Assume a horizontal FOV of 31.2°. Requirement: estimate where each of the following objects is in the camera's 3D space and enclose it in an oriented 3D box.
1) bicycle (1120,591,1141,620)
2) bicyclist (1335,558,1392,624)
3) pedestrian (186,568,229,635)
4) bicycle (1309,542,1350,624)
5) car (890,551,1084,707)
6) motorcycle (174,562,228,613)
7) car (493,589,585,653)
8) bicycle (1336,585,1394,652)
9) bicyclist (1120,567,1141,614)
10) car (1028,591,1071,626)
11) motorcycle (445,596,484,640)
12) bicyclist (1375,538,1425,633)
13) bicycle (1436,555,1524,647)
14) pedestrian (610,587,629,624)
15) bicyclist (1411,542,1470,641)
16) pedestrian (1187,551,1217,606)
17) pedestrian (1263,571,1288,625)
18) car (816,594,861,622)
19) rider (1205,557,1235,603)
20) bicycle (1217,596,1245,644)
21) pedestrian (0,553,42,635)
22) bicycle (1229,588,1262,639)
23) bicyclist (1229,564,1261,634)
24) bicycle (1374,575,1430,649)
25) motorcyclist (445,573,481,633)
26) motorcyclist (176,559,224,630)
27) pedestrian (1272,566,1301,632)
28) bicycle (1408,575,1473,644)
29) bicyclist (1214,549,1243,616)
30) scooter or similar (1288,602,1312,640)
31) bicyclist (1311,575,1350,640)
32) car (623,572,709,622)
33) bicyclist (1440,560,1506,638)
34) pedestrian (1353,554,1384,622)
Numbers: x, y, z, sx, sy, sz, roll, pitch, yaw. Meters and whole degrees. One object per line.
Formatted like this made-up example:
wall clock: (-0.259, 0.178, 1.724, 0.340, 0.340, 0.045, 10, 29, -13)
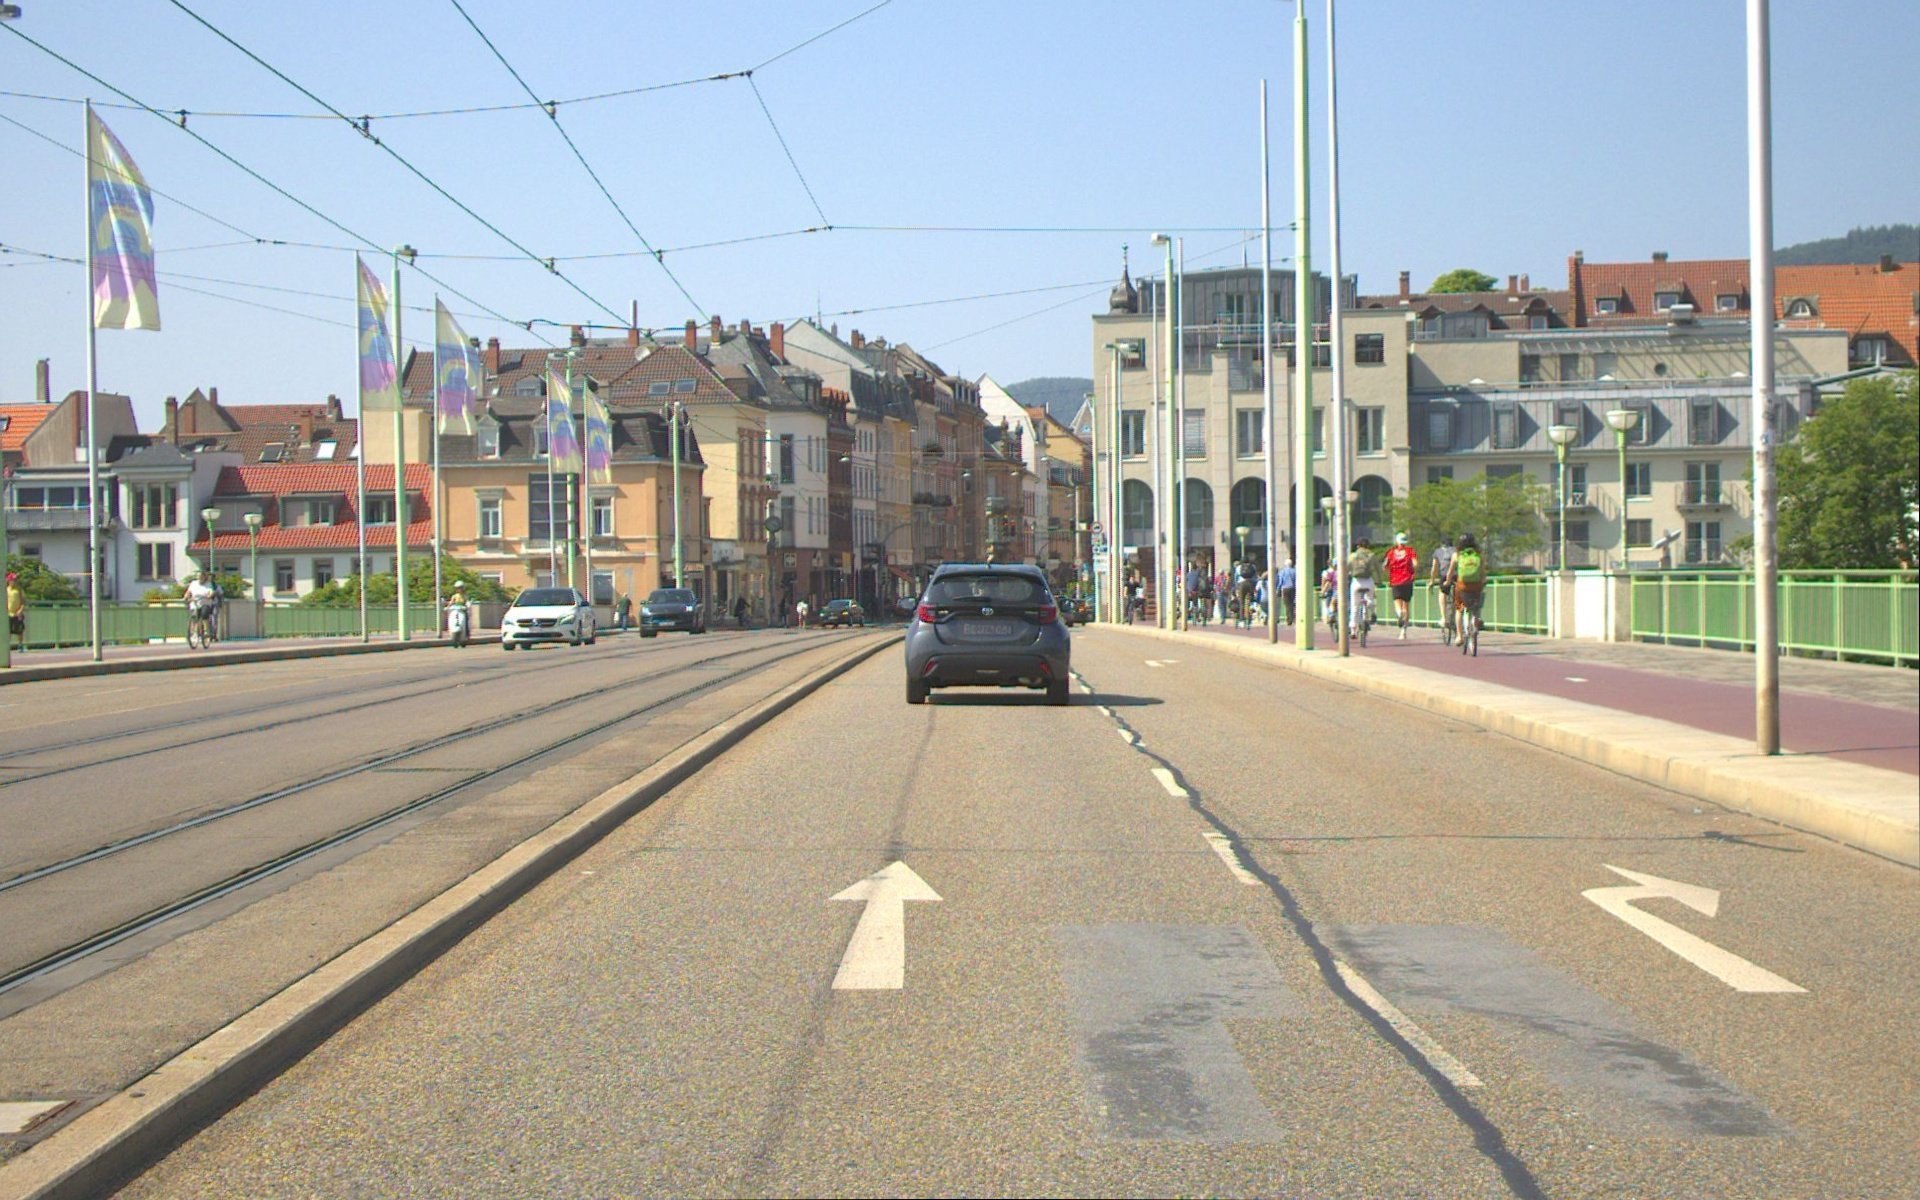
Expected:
bicycle: (5.890, 0.190, 118.719, 0.653, 0.978, 2.178, -2, 0, 2)
bicyclist: (6.405, -0.148, 54.619, 0.735, 1.027, 1.175, -1, 0, -1)
pedestrian: (-19.311, 0.029, 88.251, 0.830, 1.716, 1.094, -1, 0, 1)
bicycle: (6.301, -0.296, 58.518, 0.534, 1.362, 2.215, 0, 0, 10)
car: (0.240, 0.270, 37.459, 1.910, 1.535, 4.001, -1, 1, -2)
motorcycle: (-16.593, -0.277, 75.218, 0.701, 1.106, 2.179, -1, 0, 0)
car: (-9.903, 0.471, 80.578, 1.993, 1.404, 4.548, -1, 0, -9)
bicycle: (6.412, 0.279, 54.483, 0.618, 1.034, 2.051, -1, 0, -1)
bicyclist: (5.862, -0.326, 118.566, 0.653, 1.561, 1.337, -2, 0, 2)
car: (4.090, 0.377, 156.307, 1.804, 1.464, 4.000, -2, 0, 3)
motorcycle: (-13.025, 0.461, 90.429, 0.701, 1.106, 2.179, -1, 0, 0)
bicyclist: (7.697, -0.255, 60.211, 0.735, 1.630, 0.867, -1, 0, -1)
bicycle: (6.973, 0.011, 46.182, 0.695, 1.189, 2.079, -1, 0, -4)
pedestrian: (-15.486, 0.246, 156.498, 0.763, 1.659, 0.663, -1, 0, 3)
bicyclist: (7.353, -0.140, 52.669, 0.735, 1.495, 0.980, -1, 0, -1)
pedestrian: (7.495, -0.670, 106.440, 0.834, 1.683, 0.869, -1, 1, 0)
pedestrian: (8.705, -0.057, 94.882, 0.613, 1.460, 0.848, -1, 0, 0)
car: (-6.632, 0.433, 188.004, 1.994, 1.474, 3.999, -1, 0, 5)
rider: (8.399, -0.648, 111.032, 0.889, 1.499, 0.841, -1, 0, -1)
bicycle: (6.947, 0.505, 88.126, 0.526, 1.174, 2.029, -1, 0, -1)
pedestrian: (-19.223, -0.120, 69.706, 0.899, 1.652, 1.028, 0, 0, 3)
bicycle: (6.850, 0.316, 82.488, 0.593, 1.174, 1.940, -1, 0, -1)
bicyclist: (6.840, -0.026, 82.524, 0.656, 1.670, 0.869, -1, 0, -1)
bicycle: (7.721, 0.199, 60.134, 0.618, 1.266, 2.216, -1, 0, -1)
motorcyclist: (-13.087, 0.064, 90.566, 0.827, 1.568, 0.832, -1, 0, 0)
motorcyclist: (-16.605, -0.130, 75.156, 0.800, 1.544, 1.069, -1, 0, 0)
pedestrian: (8.986, -0.020, 94.722, 0.712, 1.804, 0.848, -1, 0, 0)
bicycle: (7.349, 0.131, 52.668, 0.618, 1.034, 2.266, -1, 0, -1)
bicyclist: (6.850, -0.451, 87.794, 0.627, 1.684, 0.869, -1, 0, -1)
scooter or similar: (9.814, 0.608, 99.212, 0.588, 1.066, 0.865, -1, 0, -2)
bicyclist: (6.330, 0.123, 58.712, 0.599, 1.098, 0.852, 0, 0, 10)
car: (-9.810, -0.109, 114.975, 1.994, 1.594, 4.337, 0, 0, 7)
bicyclist: (6.943, -0.015, 46.539, 0.666, 1.041, 0.980, -1, 0, -4)
pedestrian: (9.527, -0.280, 80.231, 0.599, 1.580, 0.867, -1, 0, -2)
